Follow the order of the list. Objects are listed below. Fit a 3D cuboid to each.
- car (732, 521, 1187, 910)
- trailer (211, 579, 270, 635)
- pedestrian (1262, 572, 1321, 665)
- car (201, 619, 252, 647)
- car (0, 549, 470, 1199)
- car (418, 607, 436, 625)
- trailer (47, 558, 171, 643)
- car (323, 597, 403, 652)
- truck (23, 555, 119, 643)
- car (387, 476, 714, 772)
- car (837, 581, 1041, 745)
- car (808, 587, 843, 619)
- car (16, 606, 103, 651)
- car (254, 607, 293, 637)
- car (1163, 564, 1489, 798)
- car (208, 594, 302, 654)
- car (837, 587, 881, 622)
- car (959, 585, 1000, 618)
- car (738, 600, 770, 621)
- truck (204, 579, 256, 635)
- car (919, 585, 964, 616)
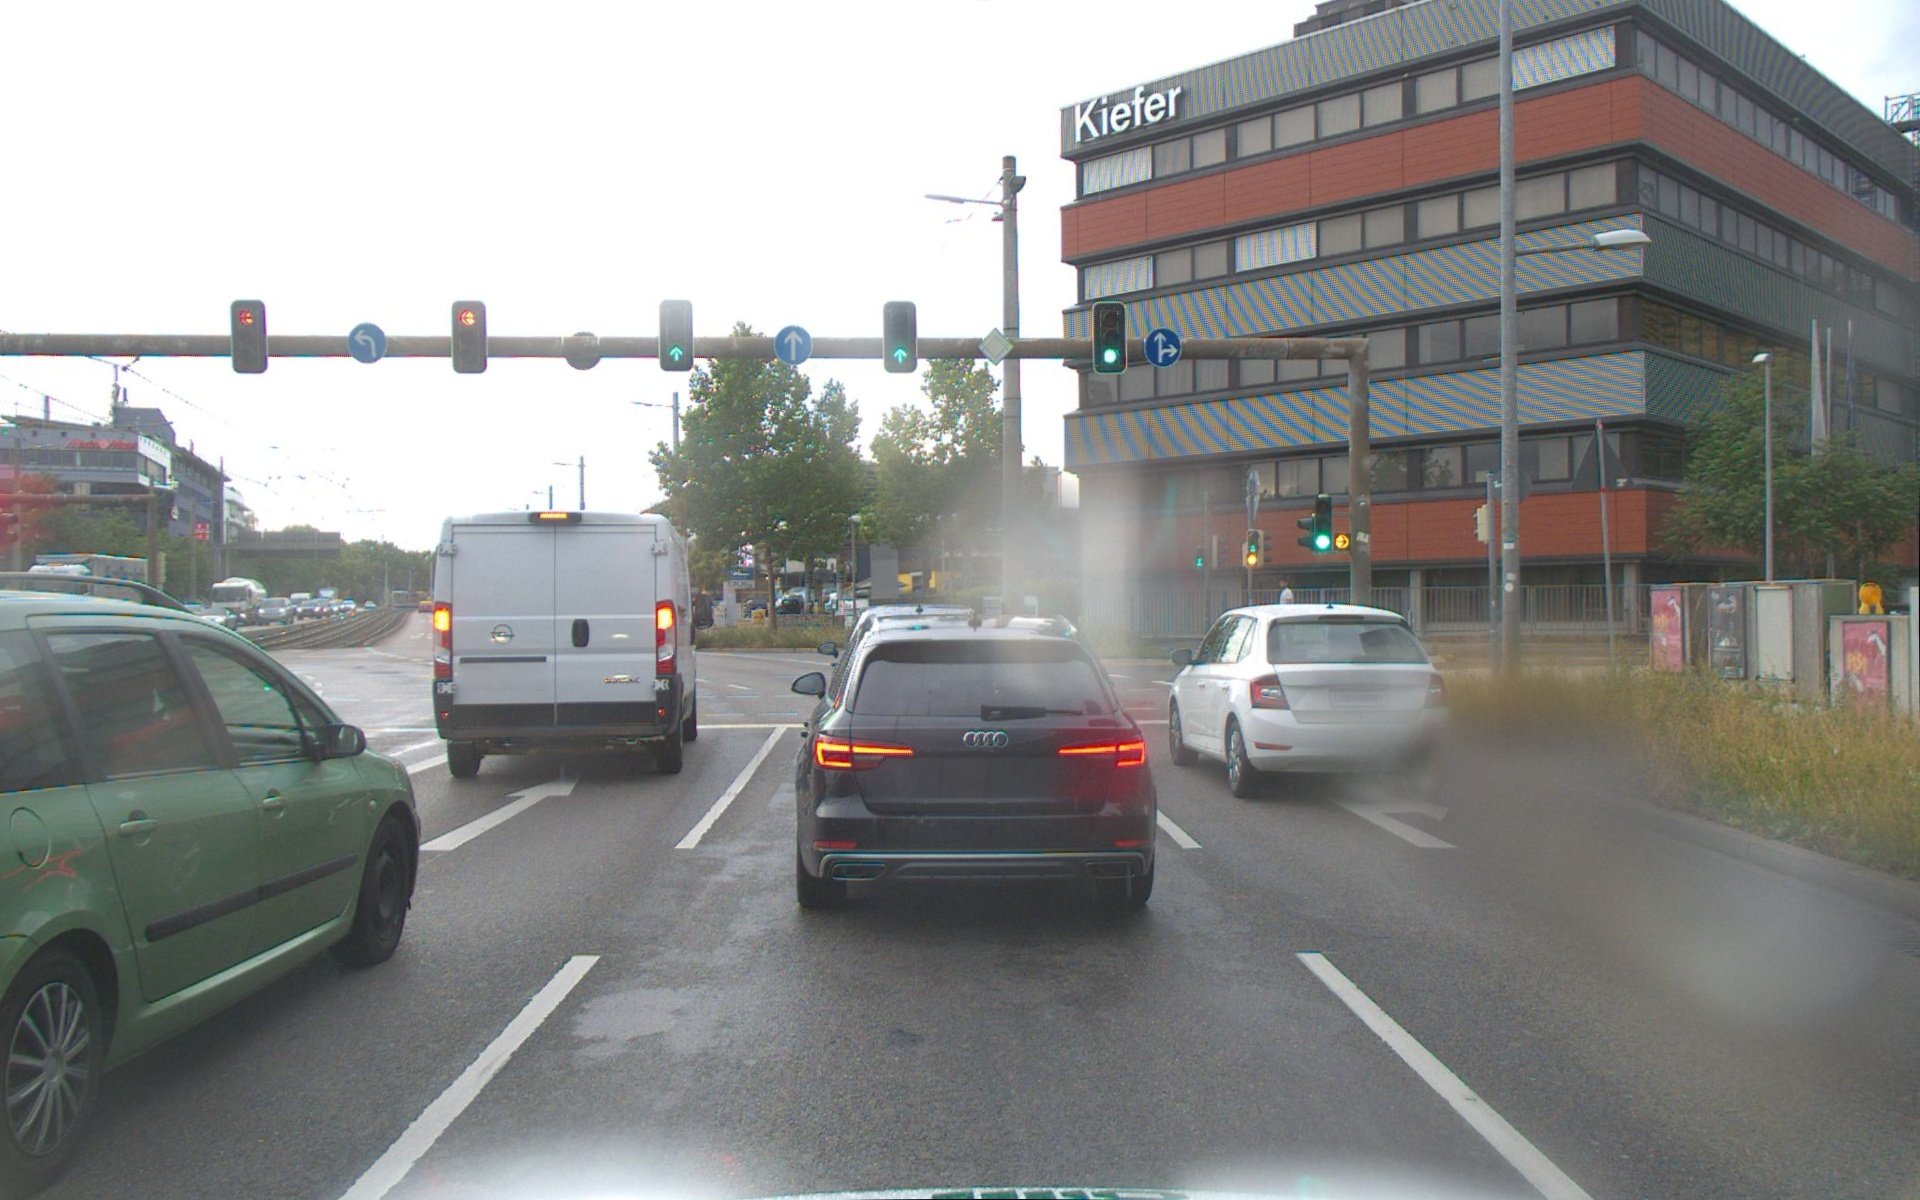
[{"bbox_3d":[-0.025,0.540,9.131,1.953,1.666,3.999,0,-1,-1],"label":"car"},{"bbox_3d":[-53.983,0.591,124.287,2.681,3.922,11.175,-2,-1,-17],"label":"trailer"},{"bbox_3d":[7.945,0.426,39.700,1.120,2.162,1.222,-1,1,-1],"label":"pedestrian"},{"bbox_3d":[-43.656,1.966,98.529,1.870,1.582,4.550,2,-1,-13],"label":"car"},{"bbox_3d":[-3.056,0.640,5.442,1.660,1.494,4.401,2,-1,-2],"label":"car"},{"bbox_3d":[-64.481,1.941,200.138,1.744,2.049,4.328,2,-1,-16],"label":"car"},{"bbox_3d":[-45.297,0.107,88.475,2.603,4.197,12.705,-1,-1,-12],"label":"trailer"},{"bbox_3d":[-23.298,0.932,64.700,1.738,2.049,4.343,2,0,-4],"label":"car"},{"bbox_3d":[-43.812,-0.003,81.701,2.620,4.202,6.164,-1,-1,-13],"label":"truck"},{"bbox_3d":[-3.674,0.249,15.881,2.399,2.334,4.896,2,-1,-7],"label":"car"},{"bbox_3d":[-0.173,0.607,17.051,1.855,1.491,3.909,0,-1,0],"label":"car"},{"bbox_3d":[-9.025,0.194,110.758,1.652,2.049,3.525,2,-1,-17],"label":"car"},{"bbox_3d":[-35.638,1.136,65.570,1.854,1.681,4.083,2,-1,-12],"label":"car"},{"bbox_3d":[-49.232,1.569,118.664,1.961,1.869,4.888,2,1,-16],"label":"car"},{"bbox_3d":[2.907,0.629,14.003,1.792,1.685,3.998,0,-1,-1],"label":"car"},{"bbox_3d":[-25.332,0.836,59.579,1.738,2.049,4.343,2,0,-4],"label":"car"},{"bbox_3d":[-6.260,0.298,101.972,1.960,2.068,3.984,-1,0,-15],"label":"car"},{"bbox_3d":[1.220,0.131,105.899,1.649,2.049,3.121,2,-1,-18],"label":"car"},{"bbox_3d":[-16.606,0.824,132.999,1.764,1.619,3.978,-1,0,-19],"label":"car"},{"bbox_3d":[-52.311,0.530,118.659,2.703,3.872,5.384,-2,-1,-17],"label":"truck"},{"bbox_3d":[-1.296,0.070,114.234,1.844,2.049,3.749,2,-1,-22],"label":"car"}]
